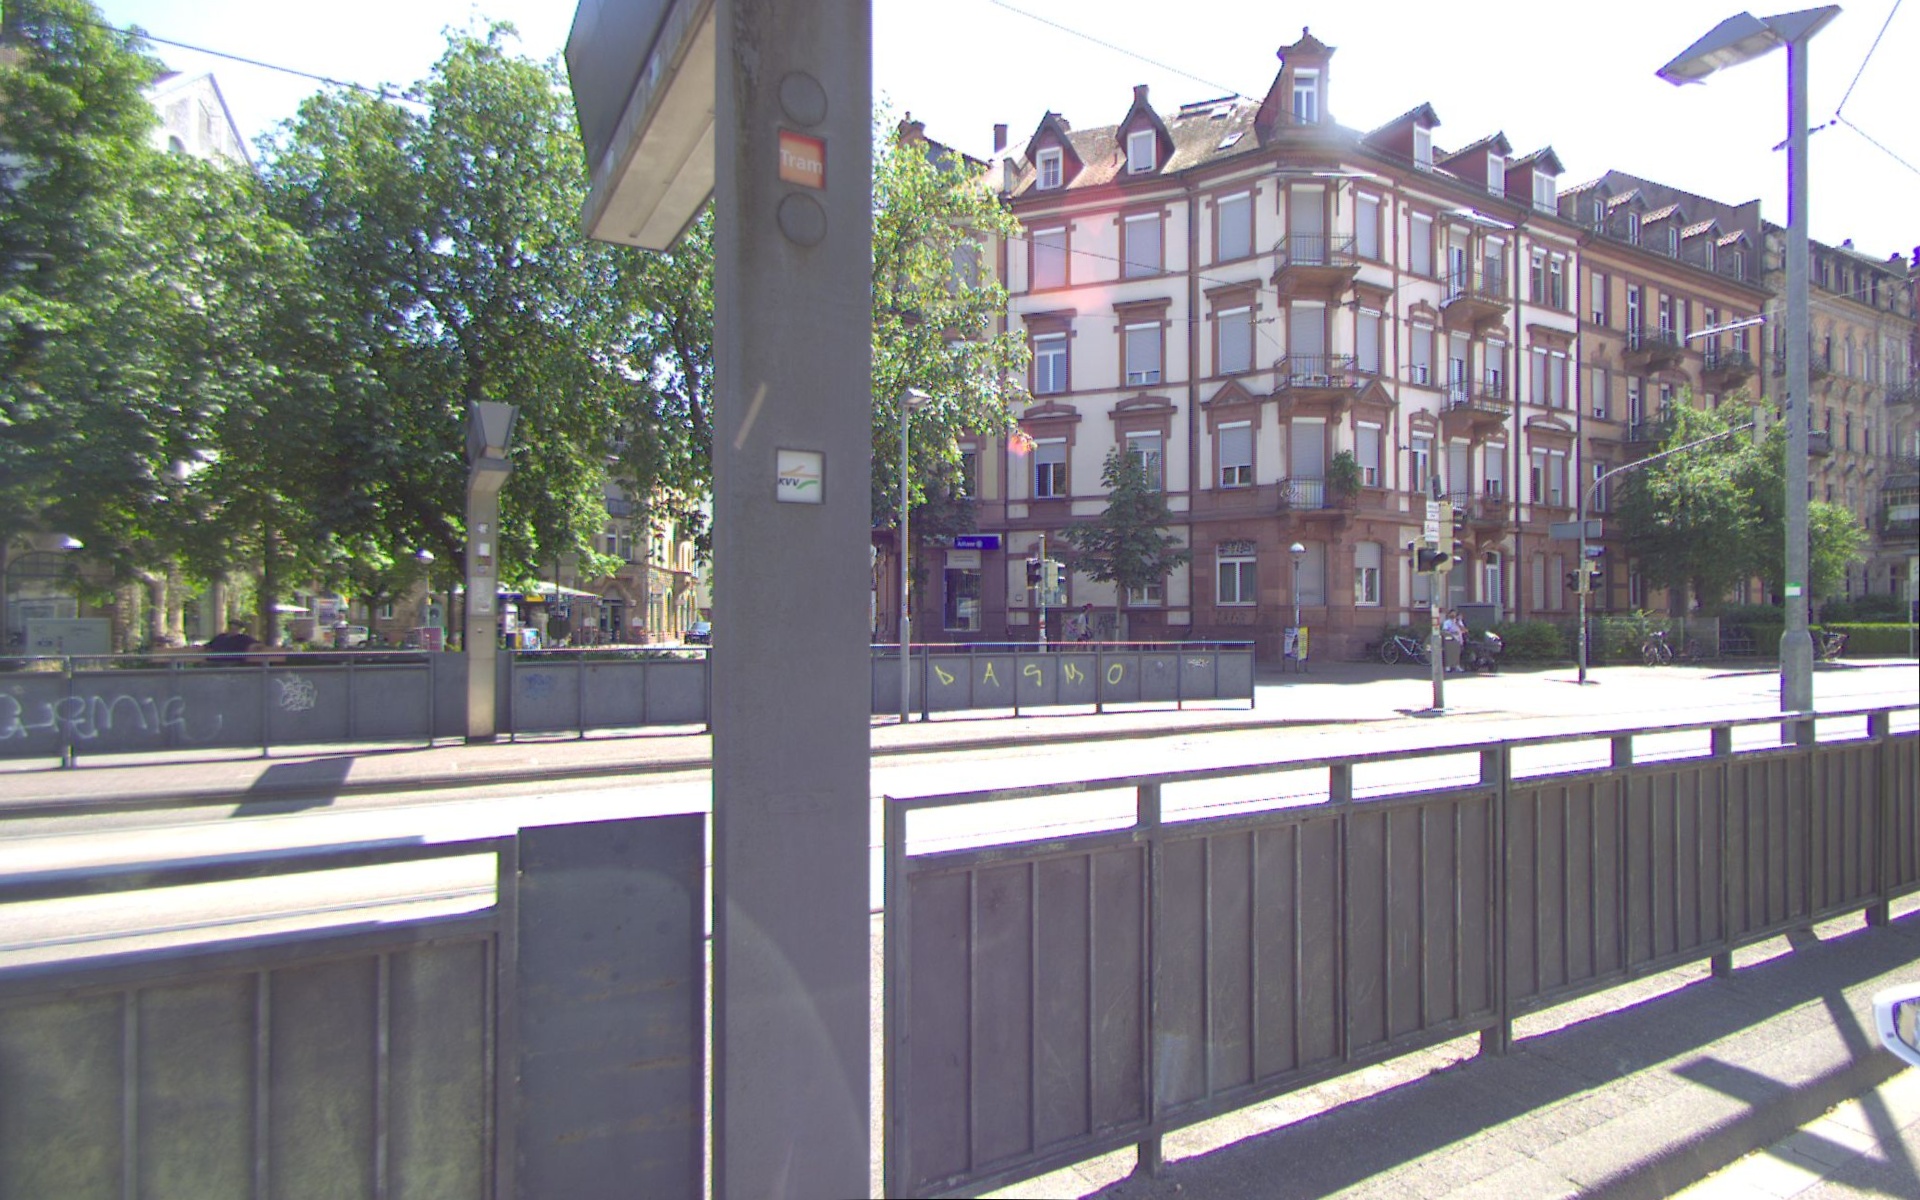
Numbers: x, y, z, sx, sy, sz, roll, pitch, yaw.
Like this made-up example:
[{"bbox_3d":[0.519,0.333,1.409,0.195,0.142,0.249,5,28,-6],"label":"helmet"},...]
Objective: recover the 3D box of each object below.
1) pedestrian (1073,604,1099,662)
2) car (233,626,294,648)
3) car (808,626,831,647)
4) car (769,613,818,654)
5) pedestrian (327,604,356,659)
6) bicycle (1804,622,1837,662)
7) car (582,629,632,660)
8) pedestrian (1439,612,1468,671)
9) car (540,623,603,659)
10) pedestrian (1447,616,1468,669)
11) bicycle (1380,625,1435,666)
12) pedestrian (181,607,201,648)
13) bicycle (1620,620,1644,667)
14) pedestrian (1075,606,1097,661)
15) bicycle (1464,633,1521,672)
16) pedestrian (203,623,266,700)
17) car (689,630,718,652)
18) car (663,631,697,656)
[{"bbox_3d":[4.028,1.049,32.187,0.556,1.849,0.632,0,-1,39],"label":"pedestrian"},{"bbox_3d":[-29.011,1.550,41.855,0.847,0.877,1.909,0,-1,35],"label":"car"},{"bbox_3d":[-10.672,2.743,76.241,1.512,1.461,3.739,1,-1,-5],"label":"car"},{"bbox_3d":[-6.281,1.239,38.162,1.512,1.461,3.739,1,-1,-5],"label":"car"},{"bbox_3d":[-23.314,1.189,37.870,0.703,2.040,0.812,0,-1,-14],"label":"pedestrian"},{"bbox_3d":[30.481,1.470,35.603,0.583,1.374,2.434,0,-1,34],"label":"bicycle"},{"bbox_3d":[-18.137,2.257,51.689,1.512,1.461,3.739,1,-1,-5],"label":"car"},{"bbox_3d":[14.078,1.179,28.659,0.640,1.637,0.469,1,2,18],"label":"pedestrian"},{"bbox_3d":[-16.779,1.746,43.552,1.512,1.461,3.739,1,-1,-5],"label":"car"},{"bbox_3d":[14.506,1.230,29.294,0.497,1.536,0.469,1,-1,18],"label":"pedestrian"},{"bbox_3d":[13.731,1.387,30.852,1.494,1.185,0.364,1,1,34],"label":"bicycle"},{"bbox_3d":[-30.973,1.121,40.458,0.554,1.644,0.510,1,-1,-30],"label":"pedestrian"},{"bbox_3d":[21.242,1.354,31.752,0.606,1.414,2.301,0,-1,34],"label":"bicycle"},{"bbox_3d":[4.142,1.087,33.036,0.500,1.791,0.527,0,-1,39],"label":"pedestrian"},{"bbox_3d":[15.120,1.482,28.546,1.375,1.027,0.389,2,0,21],"label":"bicycle"},{"bbox_3d":[-12.641,1.055,17.503,0.607,1.304,0.646,1,-1,21],"label":"pedestrian"},{"bbox_3d":[-18.441,2.967,72.370,1.513,1.461,3.738,1,-1,-6],"label":"car"},{"bbox_3d":[-18.160,2.810,65.348,1.513,1.461,3.738,1,-1,-6],"label":"car"}]
